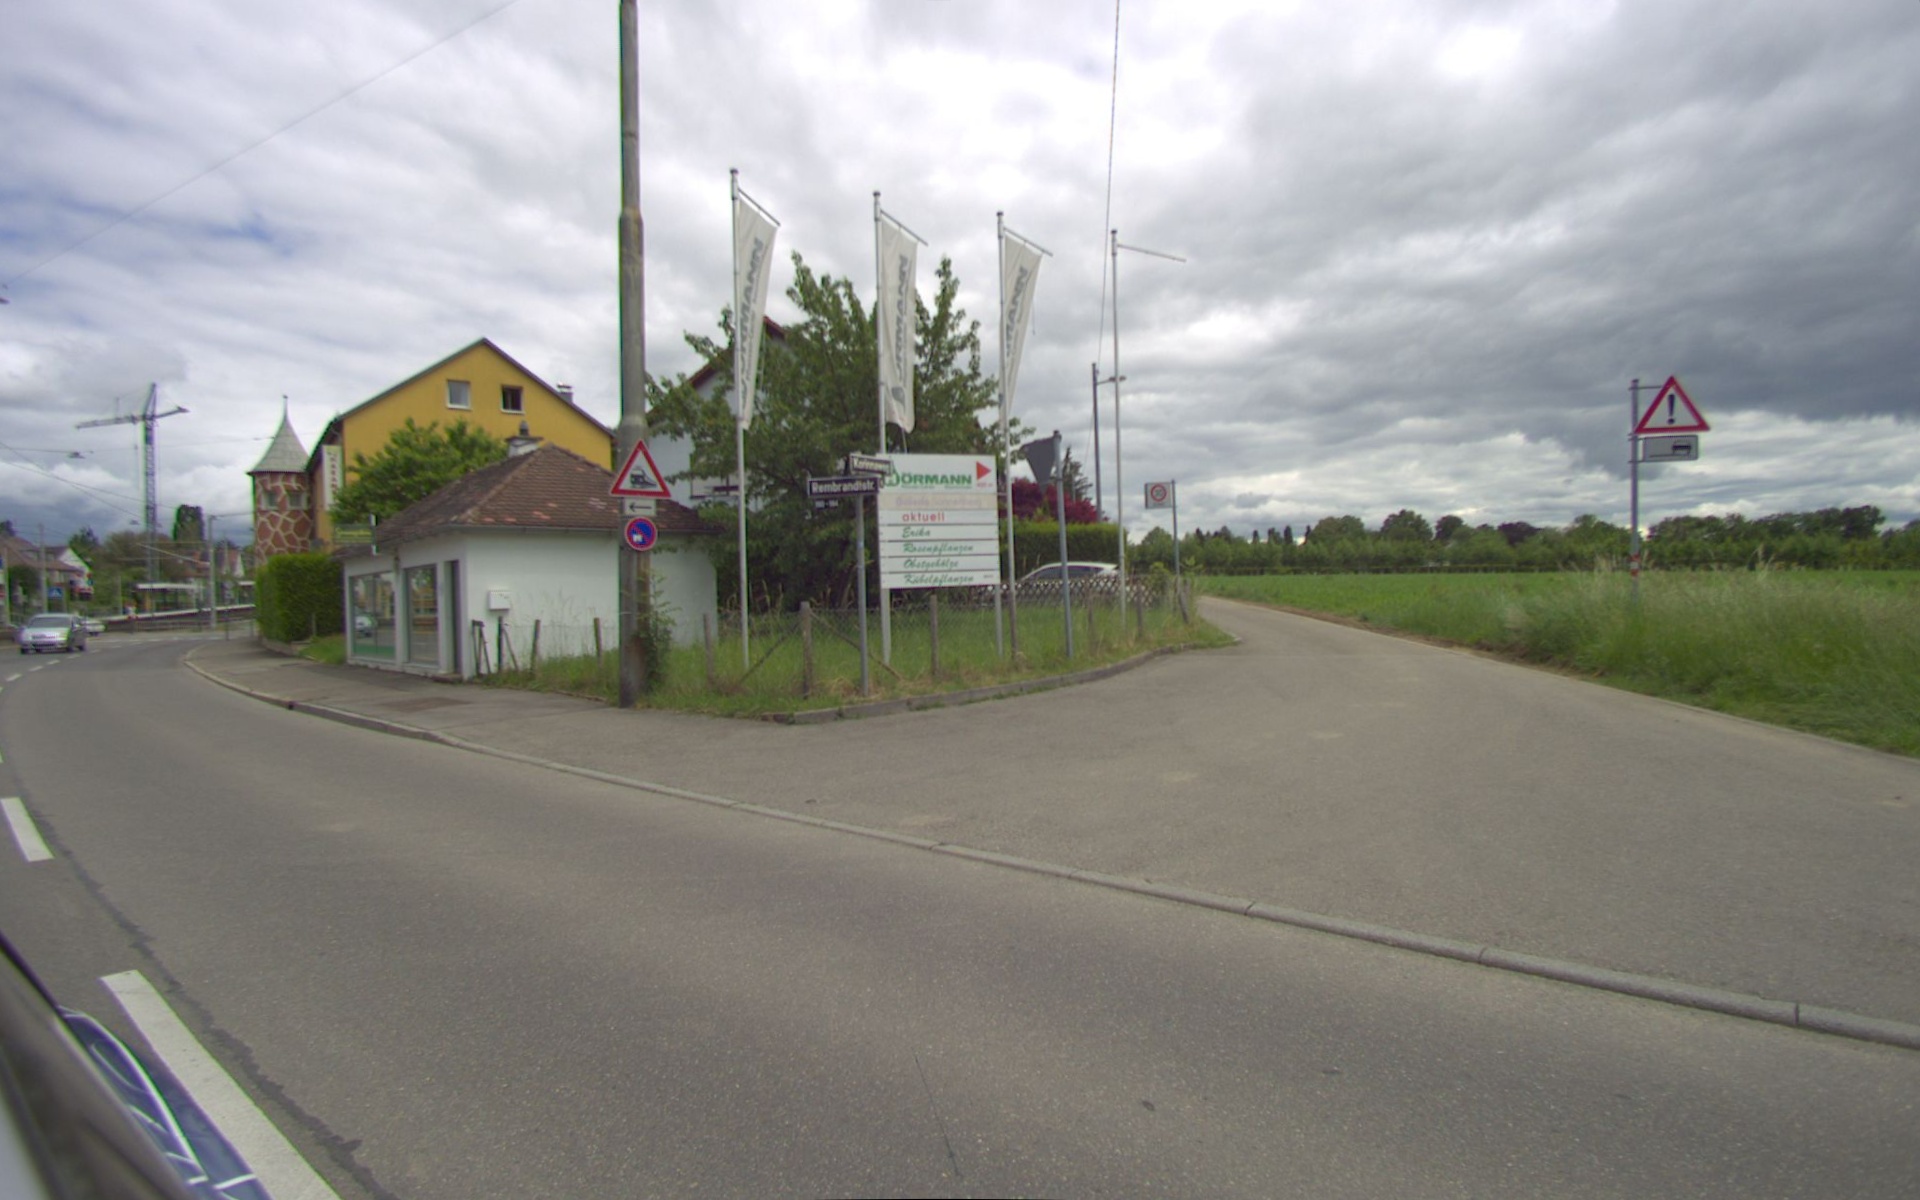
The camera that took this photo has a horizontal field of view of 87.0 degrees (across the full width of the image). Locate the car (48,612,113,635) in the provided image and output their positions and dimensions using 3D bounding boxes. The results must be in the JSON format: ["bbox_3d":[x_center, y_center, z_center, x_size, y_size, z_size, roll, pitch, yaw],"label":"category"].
[{"bbox_3d":[-63.791,1.700,73.421,4.195,1.474,1.724,-2,1,21],"label":"car"}]

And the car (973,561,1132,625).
[{"bbox_3d":[2.469,-0.190,26.429,3.957,1.545,1.993,-1,1,11],"label":"car"}]

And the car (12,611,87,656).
[{"bbox_3d":[-38.072,1.354,42.411,1.706,1.661,4.237,-2,1,-34],"label":"car"}]
